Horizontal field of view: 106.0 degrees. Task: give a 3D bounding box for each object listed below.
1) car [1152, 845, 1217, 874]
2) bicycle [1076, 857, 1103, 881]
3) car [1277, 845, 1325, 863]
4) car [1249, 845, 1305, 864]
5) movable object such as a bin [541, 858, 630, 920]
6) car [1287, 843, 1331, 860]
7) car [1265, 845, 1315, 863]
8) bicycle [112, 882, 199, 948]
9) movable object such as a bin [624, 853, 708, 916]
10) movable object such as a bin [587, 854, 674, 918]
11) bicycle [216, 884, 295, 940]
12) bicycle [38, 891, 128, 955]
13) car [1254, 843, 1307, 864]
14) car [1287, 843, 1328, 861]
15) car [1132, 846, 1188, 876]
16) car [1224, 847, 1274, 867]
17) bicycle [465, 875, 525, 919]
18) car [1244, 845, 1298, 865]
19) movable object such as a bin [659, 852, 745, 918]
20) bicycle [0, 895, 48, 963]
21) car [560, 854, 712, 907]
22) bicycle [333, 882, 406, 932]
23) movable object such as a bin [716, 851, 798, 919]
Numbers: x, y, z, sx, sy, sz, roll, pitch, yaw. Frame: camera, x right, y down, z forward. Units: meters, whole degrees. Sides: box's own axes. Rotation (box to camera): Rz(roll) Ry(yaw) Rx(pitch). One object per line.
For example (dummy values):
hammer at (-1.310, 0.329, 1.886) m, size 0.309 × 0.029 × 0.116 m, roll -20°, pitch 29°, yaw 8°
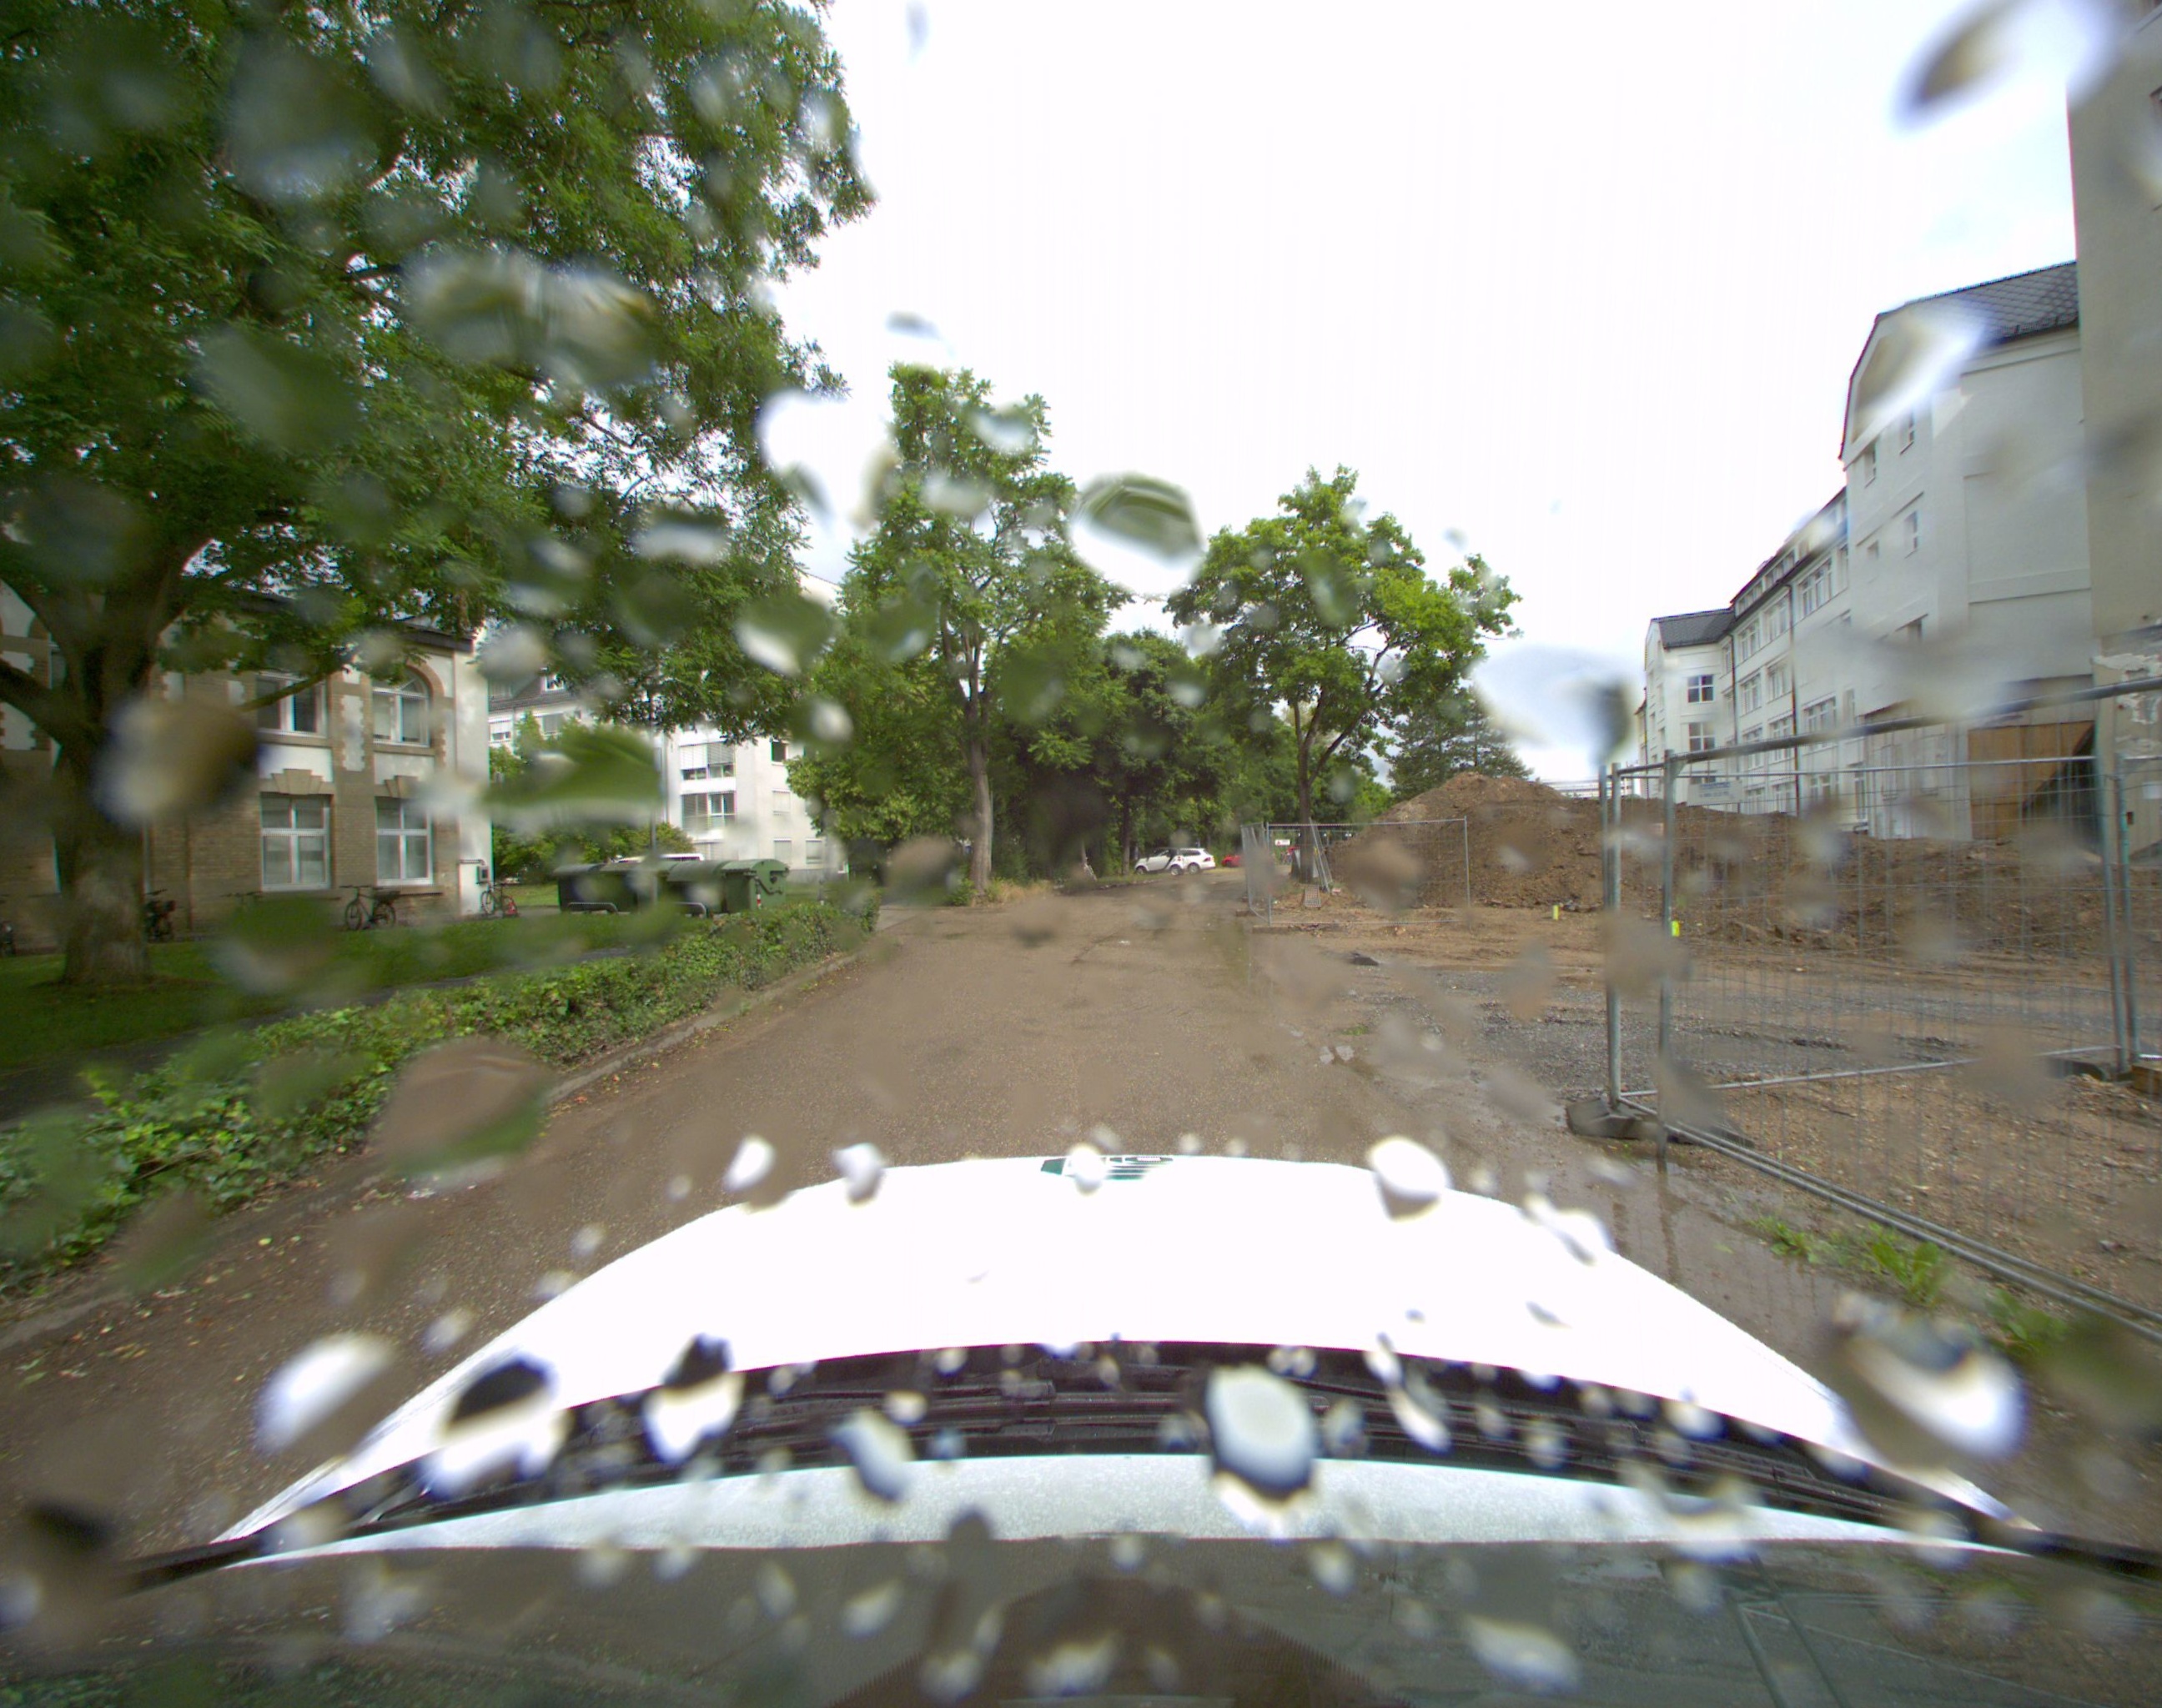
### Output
car at (5.845, 0.293, 45.974) m, size 3.407 × 1.468 × 1.747 m, roll -2°, pitch 1°, yaw 14°
bicycle at (0.350, 0.585, 32.304) m, size 0.471 × 0.860 × 1.465 m, roll 0°, pitch 2°, yaw 27°
car at (19.919, 0.000, 73.628) m, size 3.951 × 1.560 × 1.774 m, roll 0°, pitch 2°, yaw 23°
car at (15.792, 0.034, 65.621) m, size 3.950 × 1.496 × 2.006 m, roll 0°, pitch 2°, yaw 26°
movable object such as a bin at (-12.812, 0.890, 21.101) m, size 1.576 × 1.483 × 1.174 m, roll -3°, pitch 1°, yaw 21°
car at (21.988, -0.217, 78.464) m, size 3.823 × 1.573 × 1.969 m, roll 0°, pitch 2°, yaw 22°
car at (18.062, -0.013, 70.325) m, size 3.908 × 1.516 × 1.816 m, roll 0°, pitch 2°, yaw 22°
bicycle at (-18.429, 1.209, 16.210) m, size 1.902 × 1.224 × 0.621 m, roll -3°, pitch 0°, yaw 26°
movable object such as a bin at (-10.081, 0.723, 19.808) m, size 1.386 × 1.483 × 1.174 m, roll -1°, pitch 0°, yaw 22°
movable object such as a bin at (-11.347, 0.799, 20.550) m, size 1.479 × 1.483 × 1.174 m, roll -3°, pitch 1°, yaw 21°
bicycle at (-17.801, 1.256, 17.557) m, size 1.766 × 1.116 × 0.621 m, roll -3°, pitch 0°, yaw 26°
bicycle at (-18.843, 1.300, 15.374) m, size 1.902 × 1.116 × 0.621 m, roll -3°, pitch 0°, yaw 26°
car at (16.728, -0.019, 68.282) m, size 4.072 × 1.650 × 1.857 m, roll 0°, pitch 1°, yaw 21°
car at (21.247, -0.158, 76.254) m, size 3.557 × 1.620 × 1.879 m, roll 0°, pitch 1°, yaw 19°
car at (4.287, 0.371, 43.967) m, size 2.734 × 1.484 × 1.599 m, roll -2°, pitch 1°, yaw 14°
car at (12.288, 0.206, 59.713) m, size 3.252 × 1.425 × 1.602 m, roll 0°, pitch 2°, yaw 29°
bicycle at (-15.741, 1.155, 21.886) m, size 1.501 × 1.116 × 0.621 m, roll -3°, pitch 0°, yaw 26°
car at (14.834, 0.073, 63.691) m, size 3.758 × 1.529 × 1.921 m, roll 0°, pitch 2°, yaw 27°
movable object such as a bin at (-8.857, 0.706, 19.077) m, size 1.386 × 1.483 × 1.174 m, roll 0°, pitch 0°, yaw 20°
bicycle at (-19.203, 1.336, 14.477) m, size 1.902 × 1.116 × 0.621 m, roll -3°, pitch 0°, yaw 26°
car at (-17.505, 0.999, 32.343) m, size 2.073 × 1.926 × 4.919 m, roll -3°, pitch -1°, yaw 28°
bicycle at (-16.931, 1.273, 19.367) m, size 1.766 × 1.116 × 0.621 m, roll -3°, pitch 0°, yaw 26°
movable object such as a bin at (-7.407, 0.697, 18.608) m, size 1.466 × 1.473 × 1.112 m, roll -2°, pitch -1°, yaw 36°
